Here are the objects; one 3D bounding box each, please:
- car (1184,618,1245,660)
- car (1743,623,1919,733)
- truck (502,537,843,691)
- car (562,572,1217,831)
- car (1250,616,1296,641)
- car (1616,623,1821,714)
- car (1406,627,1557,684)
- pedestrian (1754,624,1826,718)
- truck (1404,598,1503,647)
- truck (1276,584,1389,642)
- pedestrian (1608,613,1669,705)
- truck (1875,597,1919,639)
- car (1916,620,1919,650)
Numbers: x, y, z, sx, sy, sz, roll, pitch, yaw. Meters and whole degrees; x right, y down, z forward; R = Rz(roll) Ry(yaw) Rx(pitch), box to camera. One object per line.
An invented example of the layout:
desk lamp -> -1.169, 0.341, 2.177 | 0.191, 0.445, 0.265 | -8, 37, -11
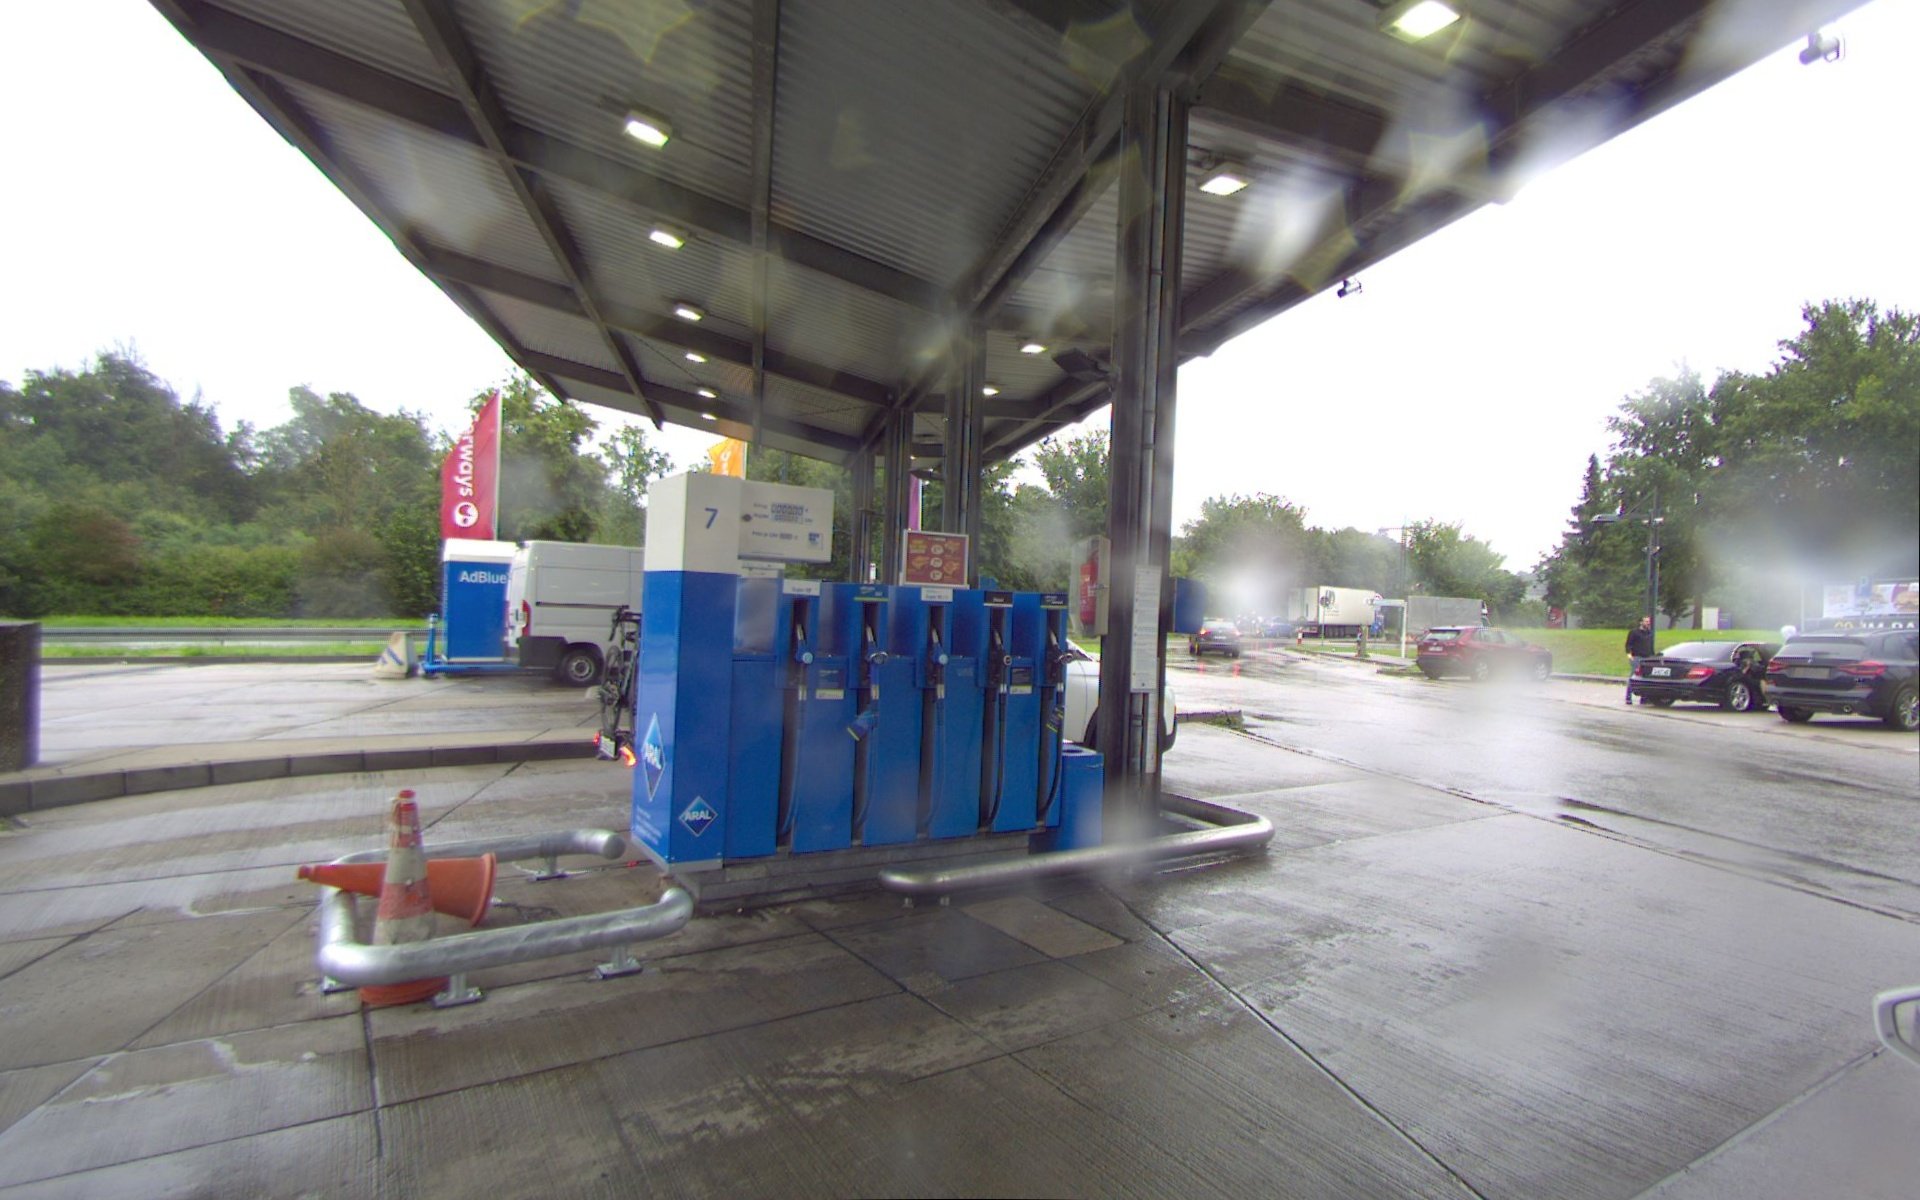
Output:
car -> 11.080, 1.673, 43.949 | 1.960, 1.700, 4.002 | 2, -1, 5
car -> 16.176, 1.272, 17.460 | 4.274, 1.734, 2.016 | 1, -1, -18
truck -> -5.334, 0.295, 18.933 | 5.793, 2.527, 2.221 | 2, 0, -30
car -> -0.422, 0.703, 8.451 | 5.210, 1.629, 1.852 | 2, 0, -30
car -> 22.907, 2.064, 73.429 | 1.787, 1.704, 3.934 | 2, 0, 40
car -> 15.945, 1.358, 21.083 | 4.293, 1.734, 2.007 | 1, -2, -31
car -> 16.080, 1.671, 30.994 | 4.283, 1.666, 1.933 | 1, -2, -25
pedestrian -> 15.332, 1.283, 18.574 | 0.938, 1.653, 0.701 | 2, 0, 36
truck -> 33.539, 1.530, 68.157 | 7.273, 3.126, 2.464 | 2, 0, -31
truck -> 31.883, 1.188, 85.144 | 3.498, 4.397, 16.922 | 2, 0, 40
pedestrian -> 14.553, 1.242, 21.556 | 0.690, 1.912, 0.894 | 2, 0, 5
truck -> 68.858, 1.322, 71.692 | 5.285, 2.959, 2.191 | 2, 0, -5
car -> 60.129, 2.167, 59.940 | 4.058, 1.806, 1.843 | 2, 0, 25
